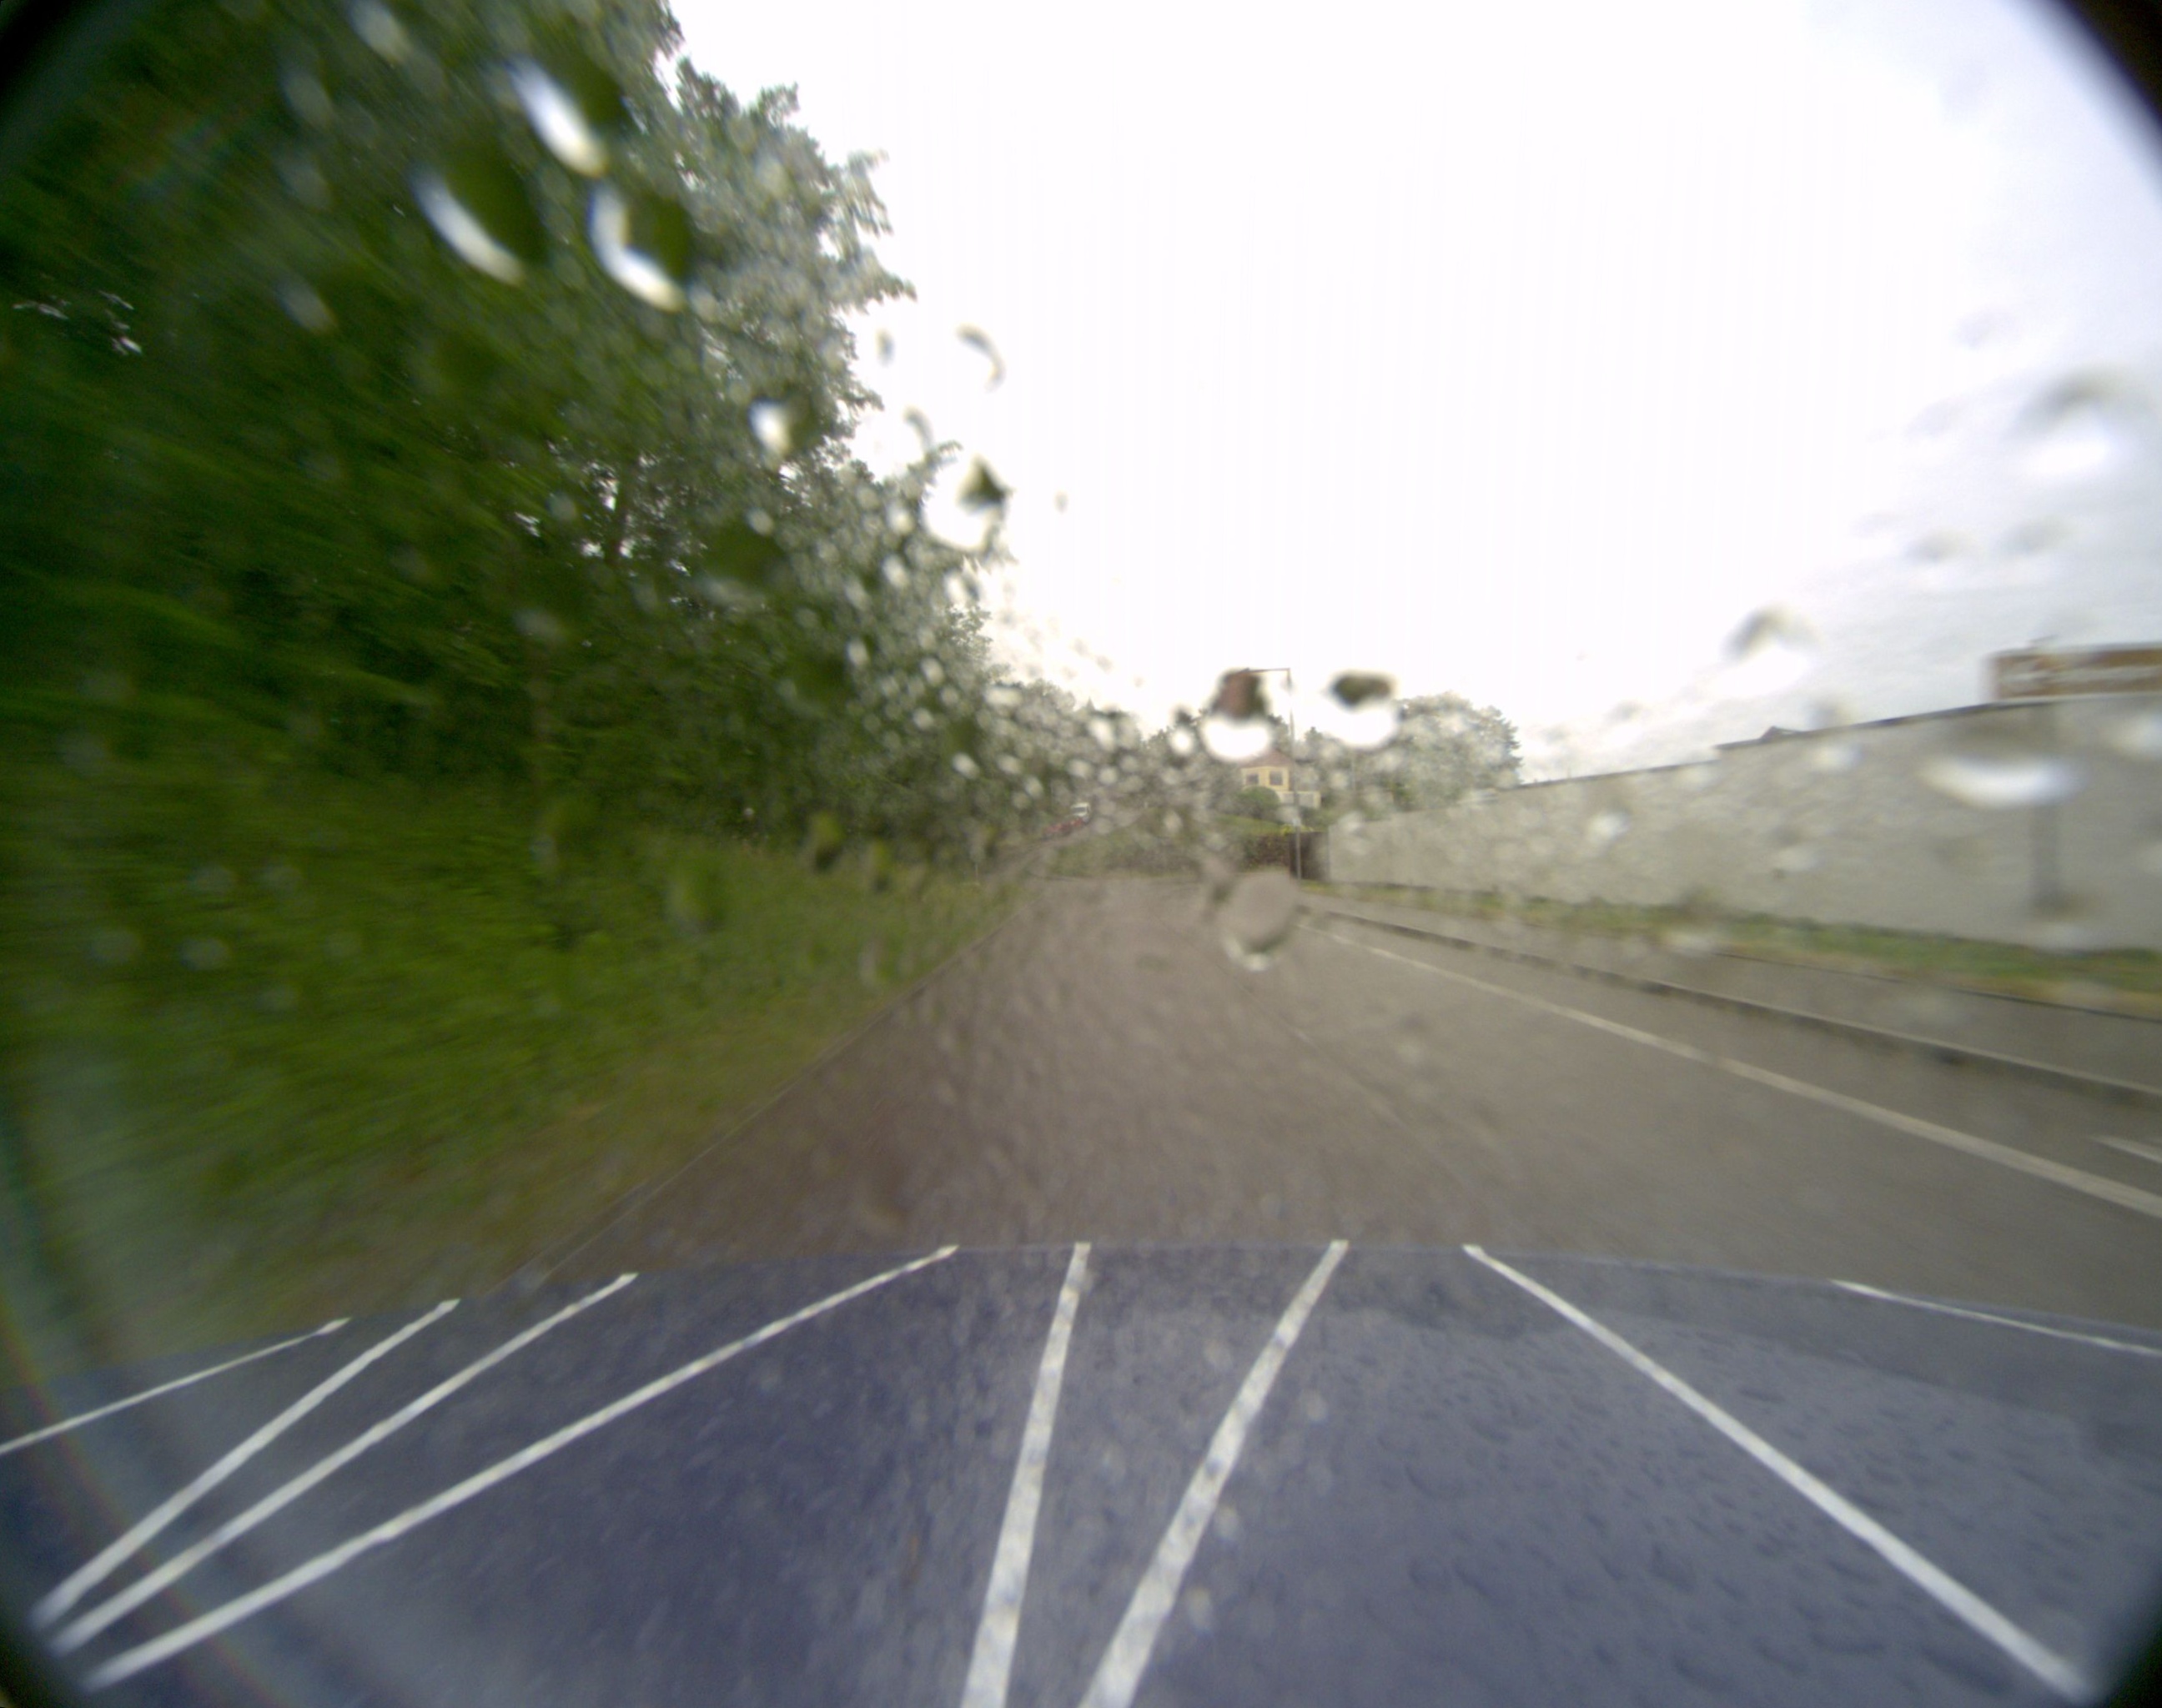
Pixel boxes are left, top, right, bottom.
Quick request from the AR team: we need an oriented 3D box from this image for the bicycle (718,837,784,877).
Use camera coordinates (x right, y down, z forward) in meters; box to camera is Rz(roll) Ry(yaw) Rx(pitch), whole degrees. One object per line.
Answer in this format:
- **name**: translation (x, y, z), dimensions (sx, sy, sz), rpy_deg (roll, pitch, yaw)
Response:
- **bicycle**: translation (-7.771, 0.056, 17.981), dimensions (0.435, 0.885, 1.699), rpy_deg (-2, 1, 15)

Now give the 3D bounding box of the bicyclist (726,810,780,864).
- **bicyclist**: translation (-7.780, -0.393, 18.041), dimensions (0.788, 1.220, 0.812), rpy_deg (-2, 1, 15)
